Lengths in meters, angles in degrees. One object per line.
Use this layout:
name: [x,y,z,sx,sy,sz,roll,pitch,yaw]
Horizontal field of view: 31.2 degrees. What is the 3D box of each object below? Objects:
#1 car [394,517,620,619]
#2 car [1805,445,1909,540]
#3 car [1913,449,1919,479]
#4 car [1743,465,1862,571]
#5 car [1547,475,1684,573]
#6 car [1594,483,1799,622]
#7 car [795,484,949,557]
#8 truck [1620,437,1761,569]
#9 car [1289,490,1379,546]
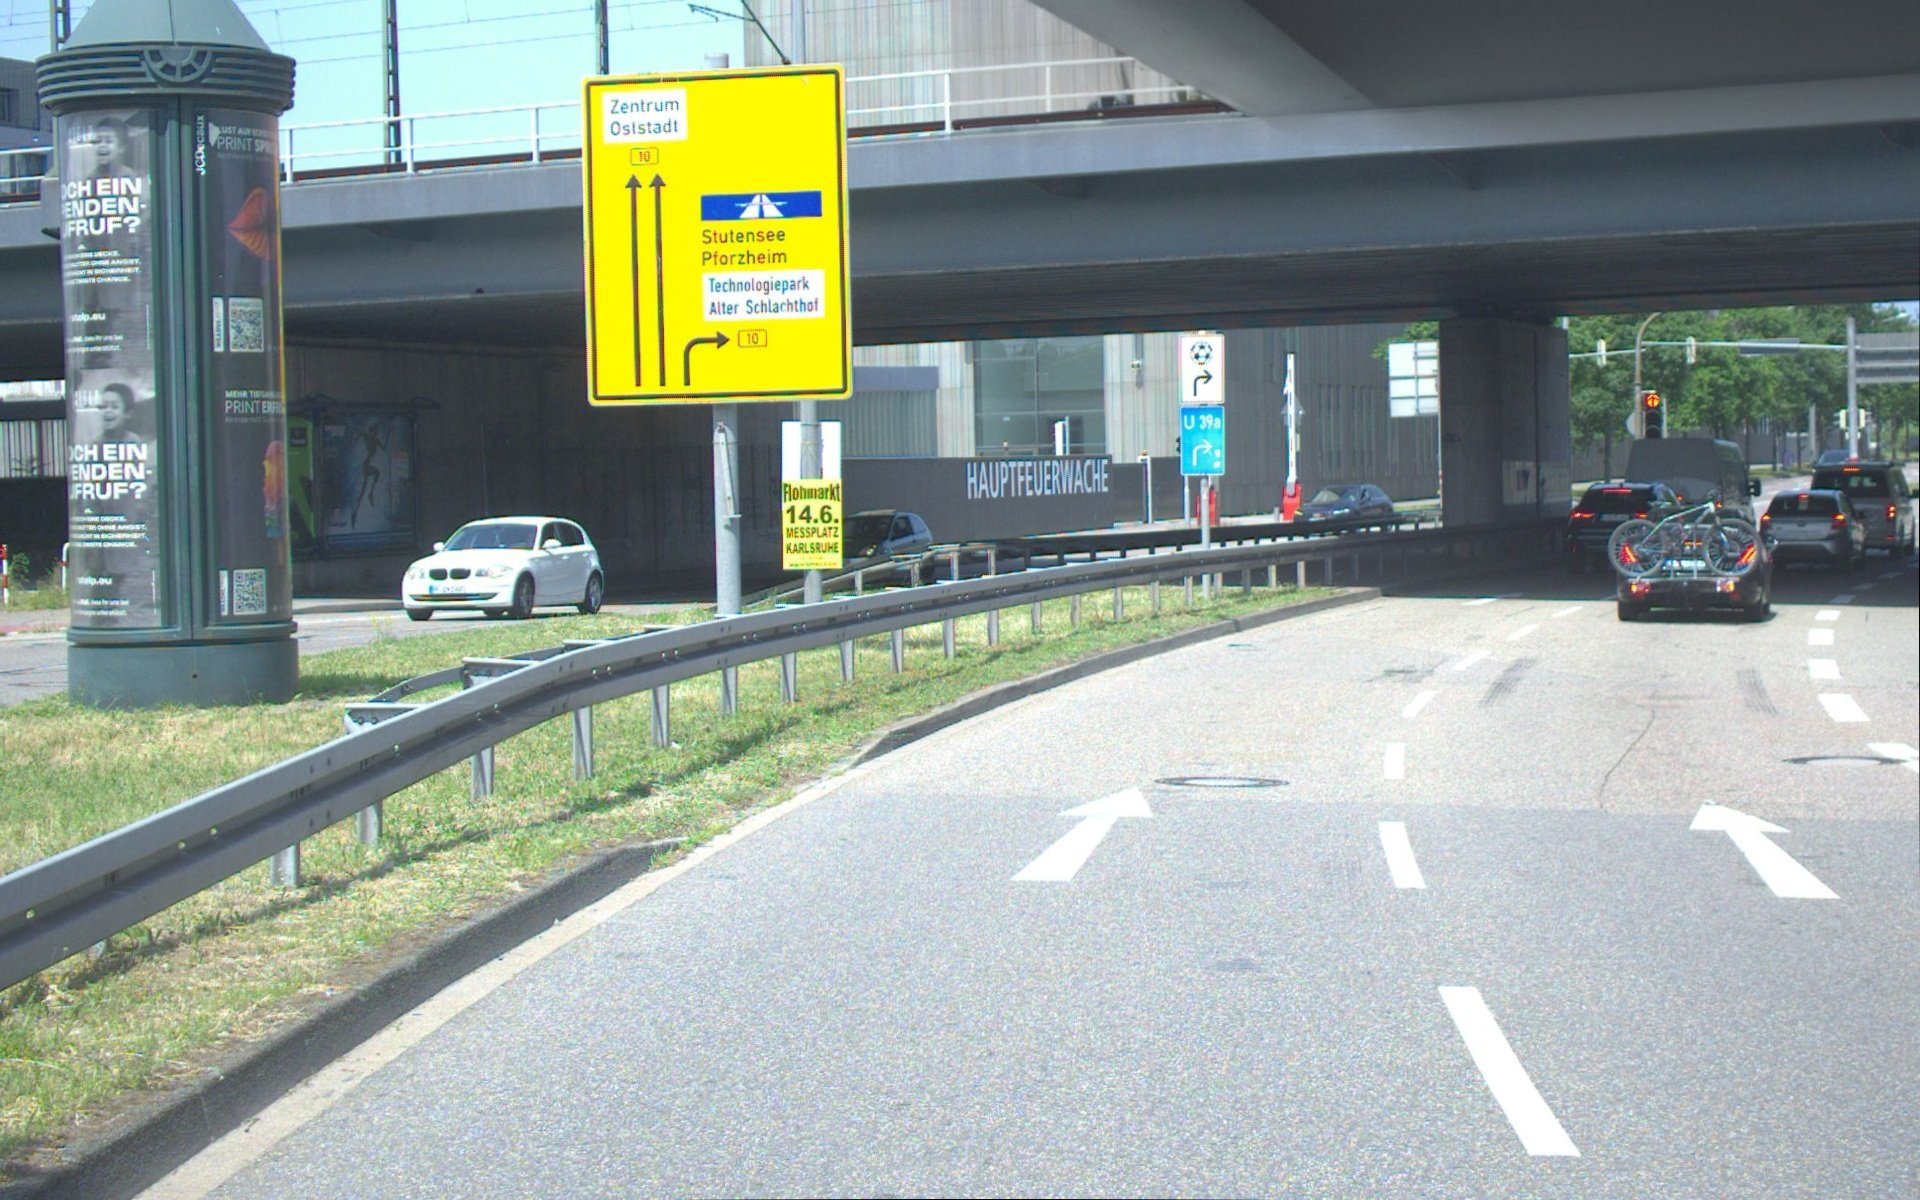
car: [-6.366,-0.478,48.725,1.655,1.375,4.215,0,1,15]
car: [18.478,-2.188,70.711,1.842,1.883,3.997,0,1,18]
car: [54.937,-7.707,194.444,1.856,1.617,3.997,0,1,17]
car: [15.653,-1.520,63.751,1.842,1.883,3.997,0,1,18]
car: [12.045,-1.395,62.983,1.942,1.715,3.997,0,1,18]
car: [9.168,-0.627,42.584,1.959,1.628,4.276,0,2,19]
car: [-1.852,-1.695,73.862,1.995,1.436,3.996,-2,0,19]
truck: [14.872,-1.973,69.860,2.070,2.529,3.996,-2,1,22]
car: [11.247,-2.463,103.187,1.856,1.617,3.996,0,1,19]
